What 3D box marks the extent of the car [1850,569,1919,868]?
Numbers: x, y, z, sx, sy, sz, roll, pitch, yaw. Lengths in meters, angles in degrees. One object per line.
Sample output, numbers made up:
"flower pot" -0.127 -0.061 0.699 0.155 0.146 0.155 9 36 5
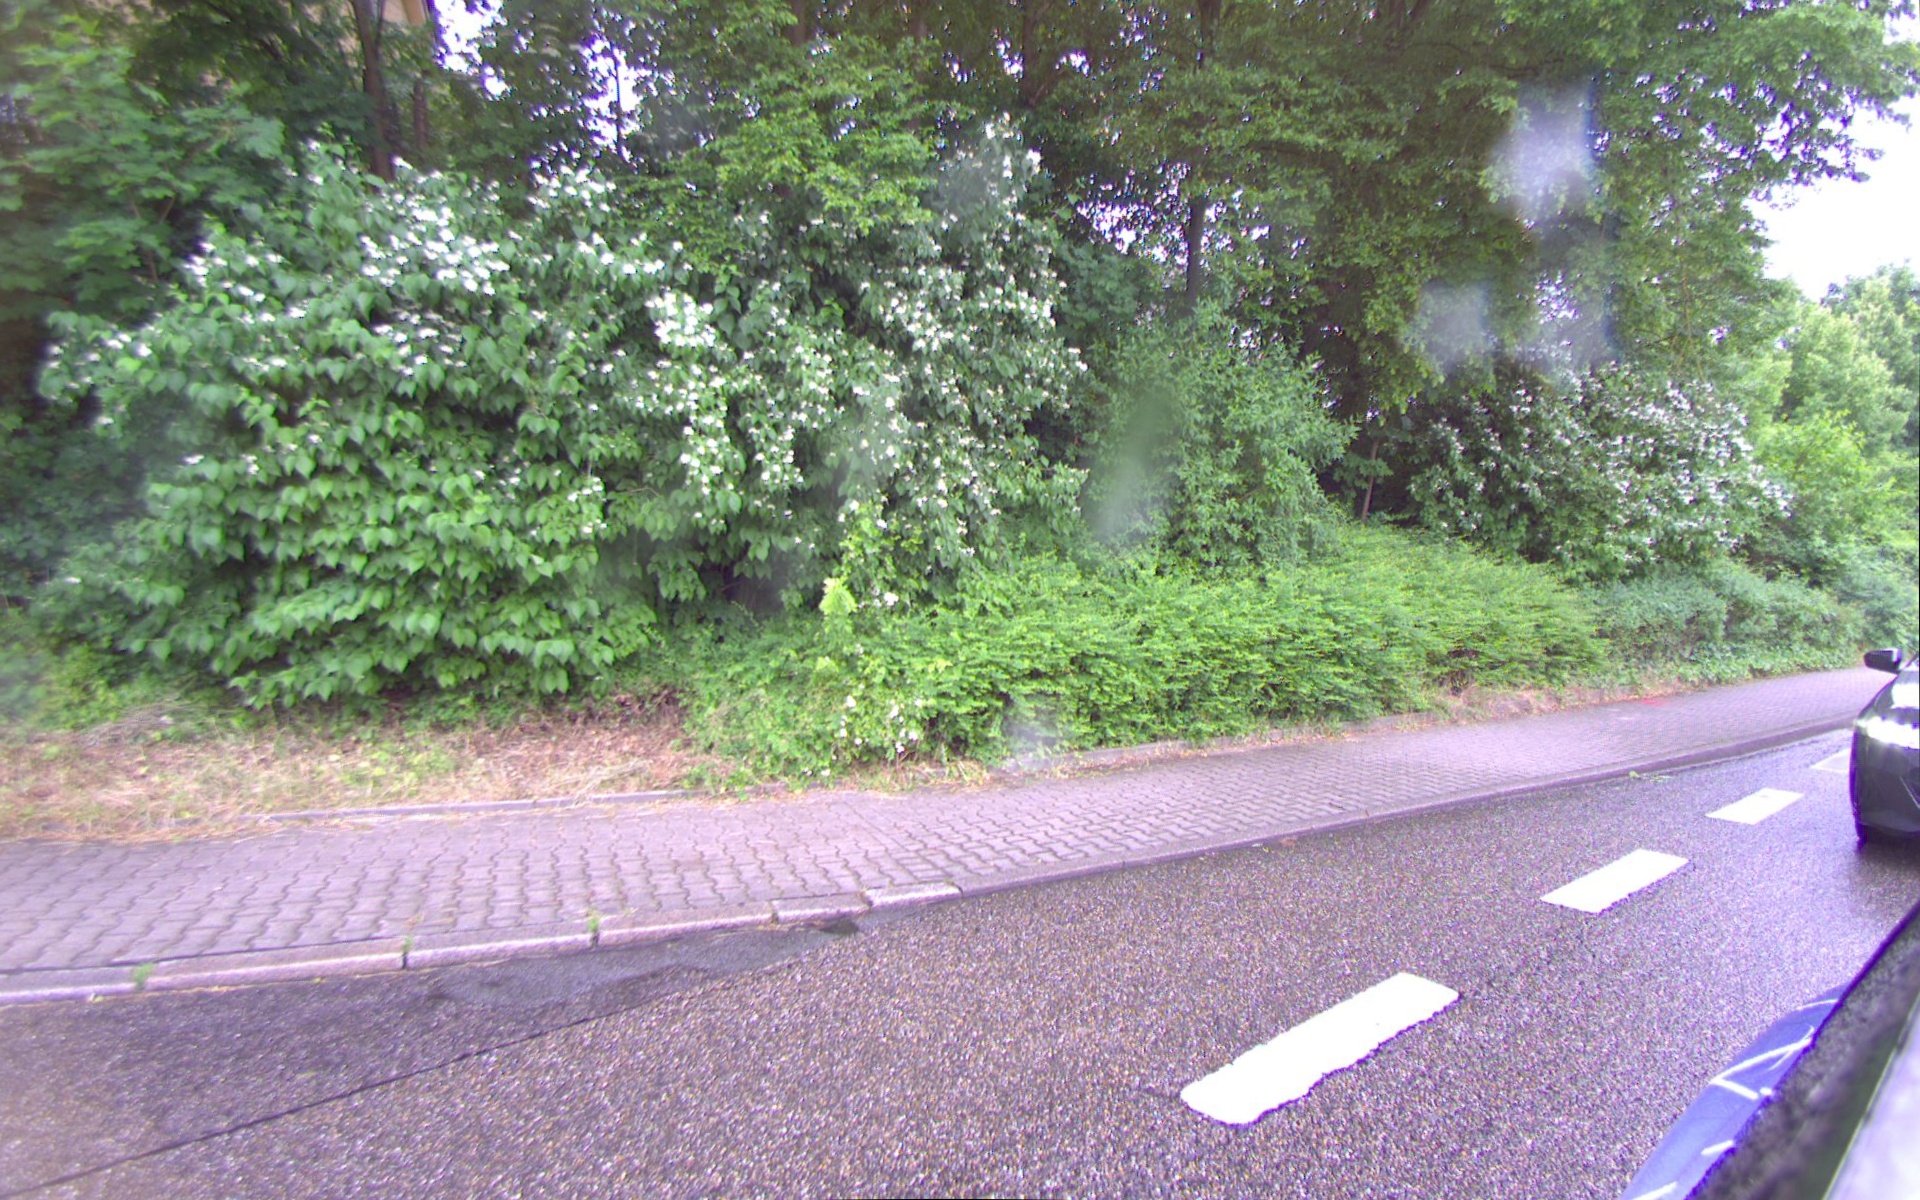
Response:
"car" 7.041 0.617 6.162 4.048 1.574 1.867 -2 3 -41
